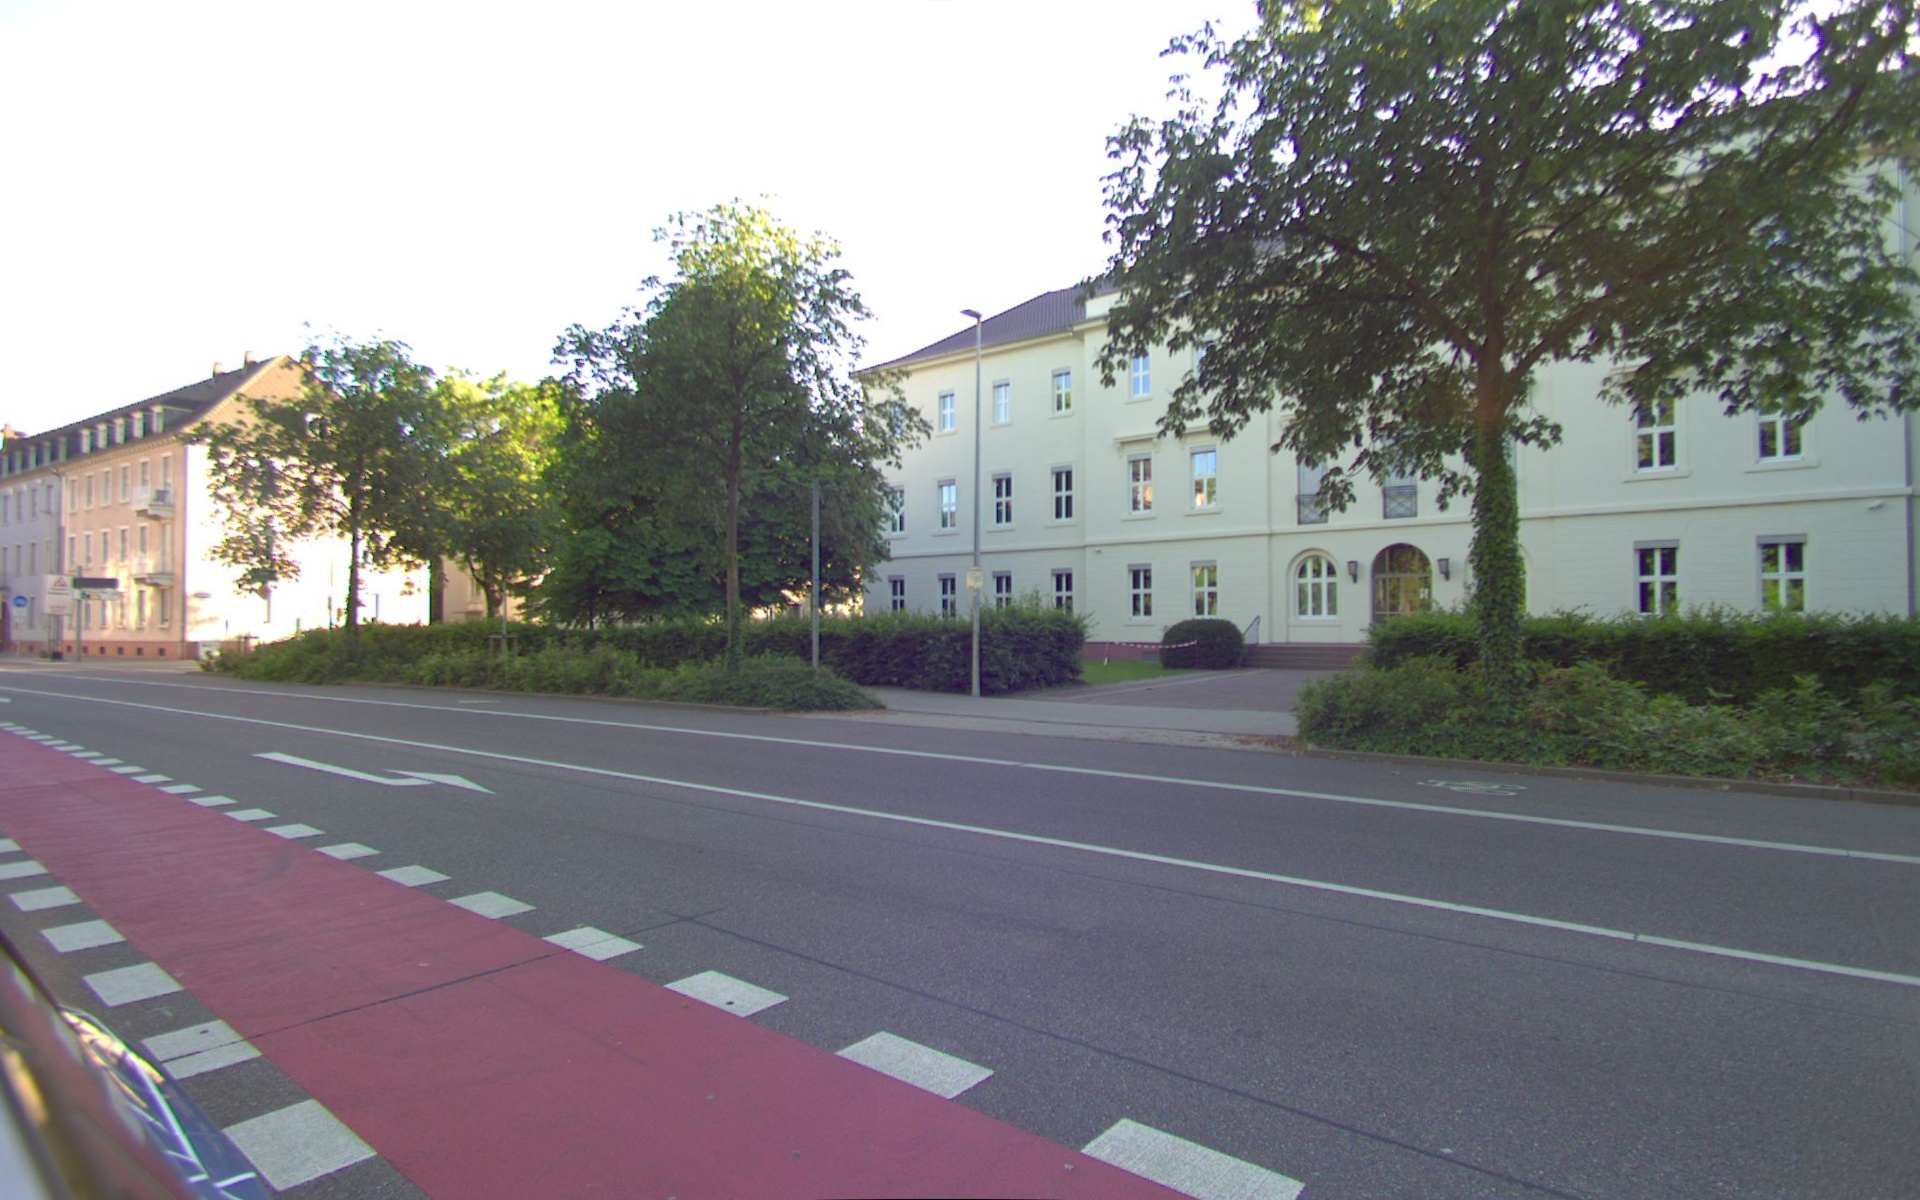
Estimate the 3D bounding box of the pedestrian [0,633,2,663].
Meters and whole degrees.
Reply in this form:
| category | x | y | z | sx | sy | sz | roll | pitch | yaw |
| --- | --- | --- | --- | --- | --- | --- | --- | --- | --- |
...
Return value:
| category | x | y | z | sx | sy | sz | roll | pitch | yaw |
| --- | --- | --- | --- | --- | --- | --- | --- | --- | --- |
| pedestrian | -62.796 | 3.130 | 65.517 | 1.060 | 1.919 | 0.938 | -1 | -1 | 33 |

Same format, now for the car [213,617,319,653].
| category | x | y | z | sx | sy | sz | roll | pitch | yaw |
| --- | --- | --- | --- | --- | --- | --- | --- | --- | --- |
| car | -34.682 | 1.738 | 50.683 | 1.993 | 1.674 | 3.958 | -1 | -1 | 31 |
